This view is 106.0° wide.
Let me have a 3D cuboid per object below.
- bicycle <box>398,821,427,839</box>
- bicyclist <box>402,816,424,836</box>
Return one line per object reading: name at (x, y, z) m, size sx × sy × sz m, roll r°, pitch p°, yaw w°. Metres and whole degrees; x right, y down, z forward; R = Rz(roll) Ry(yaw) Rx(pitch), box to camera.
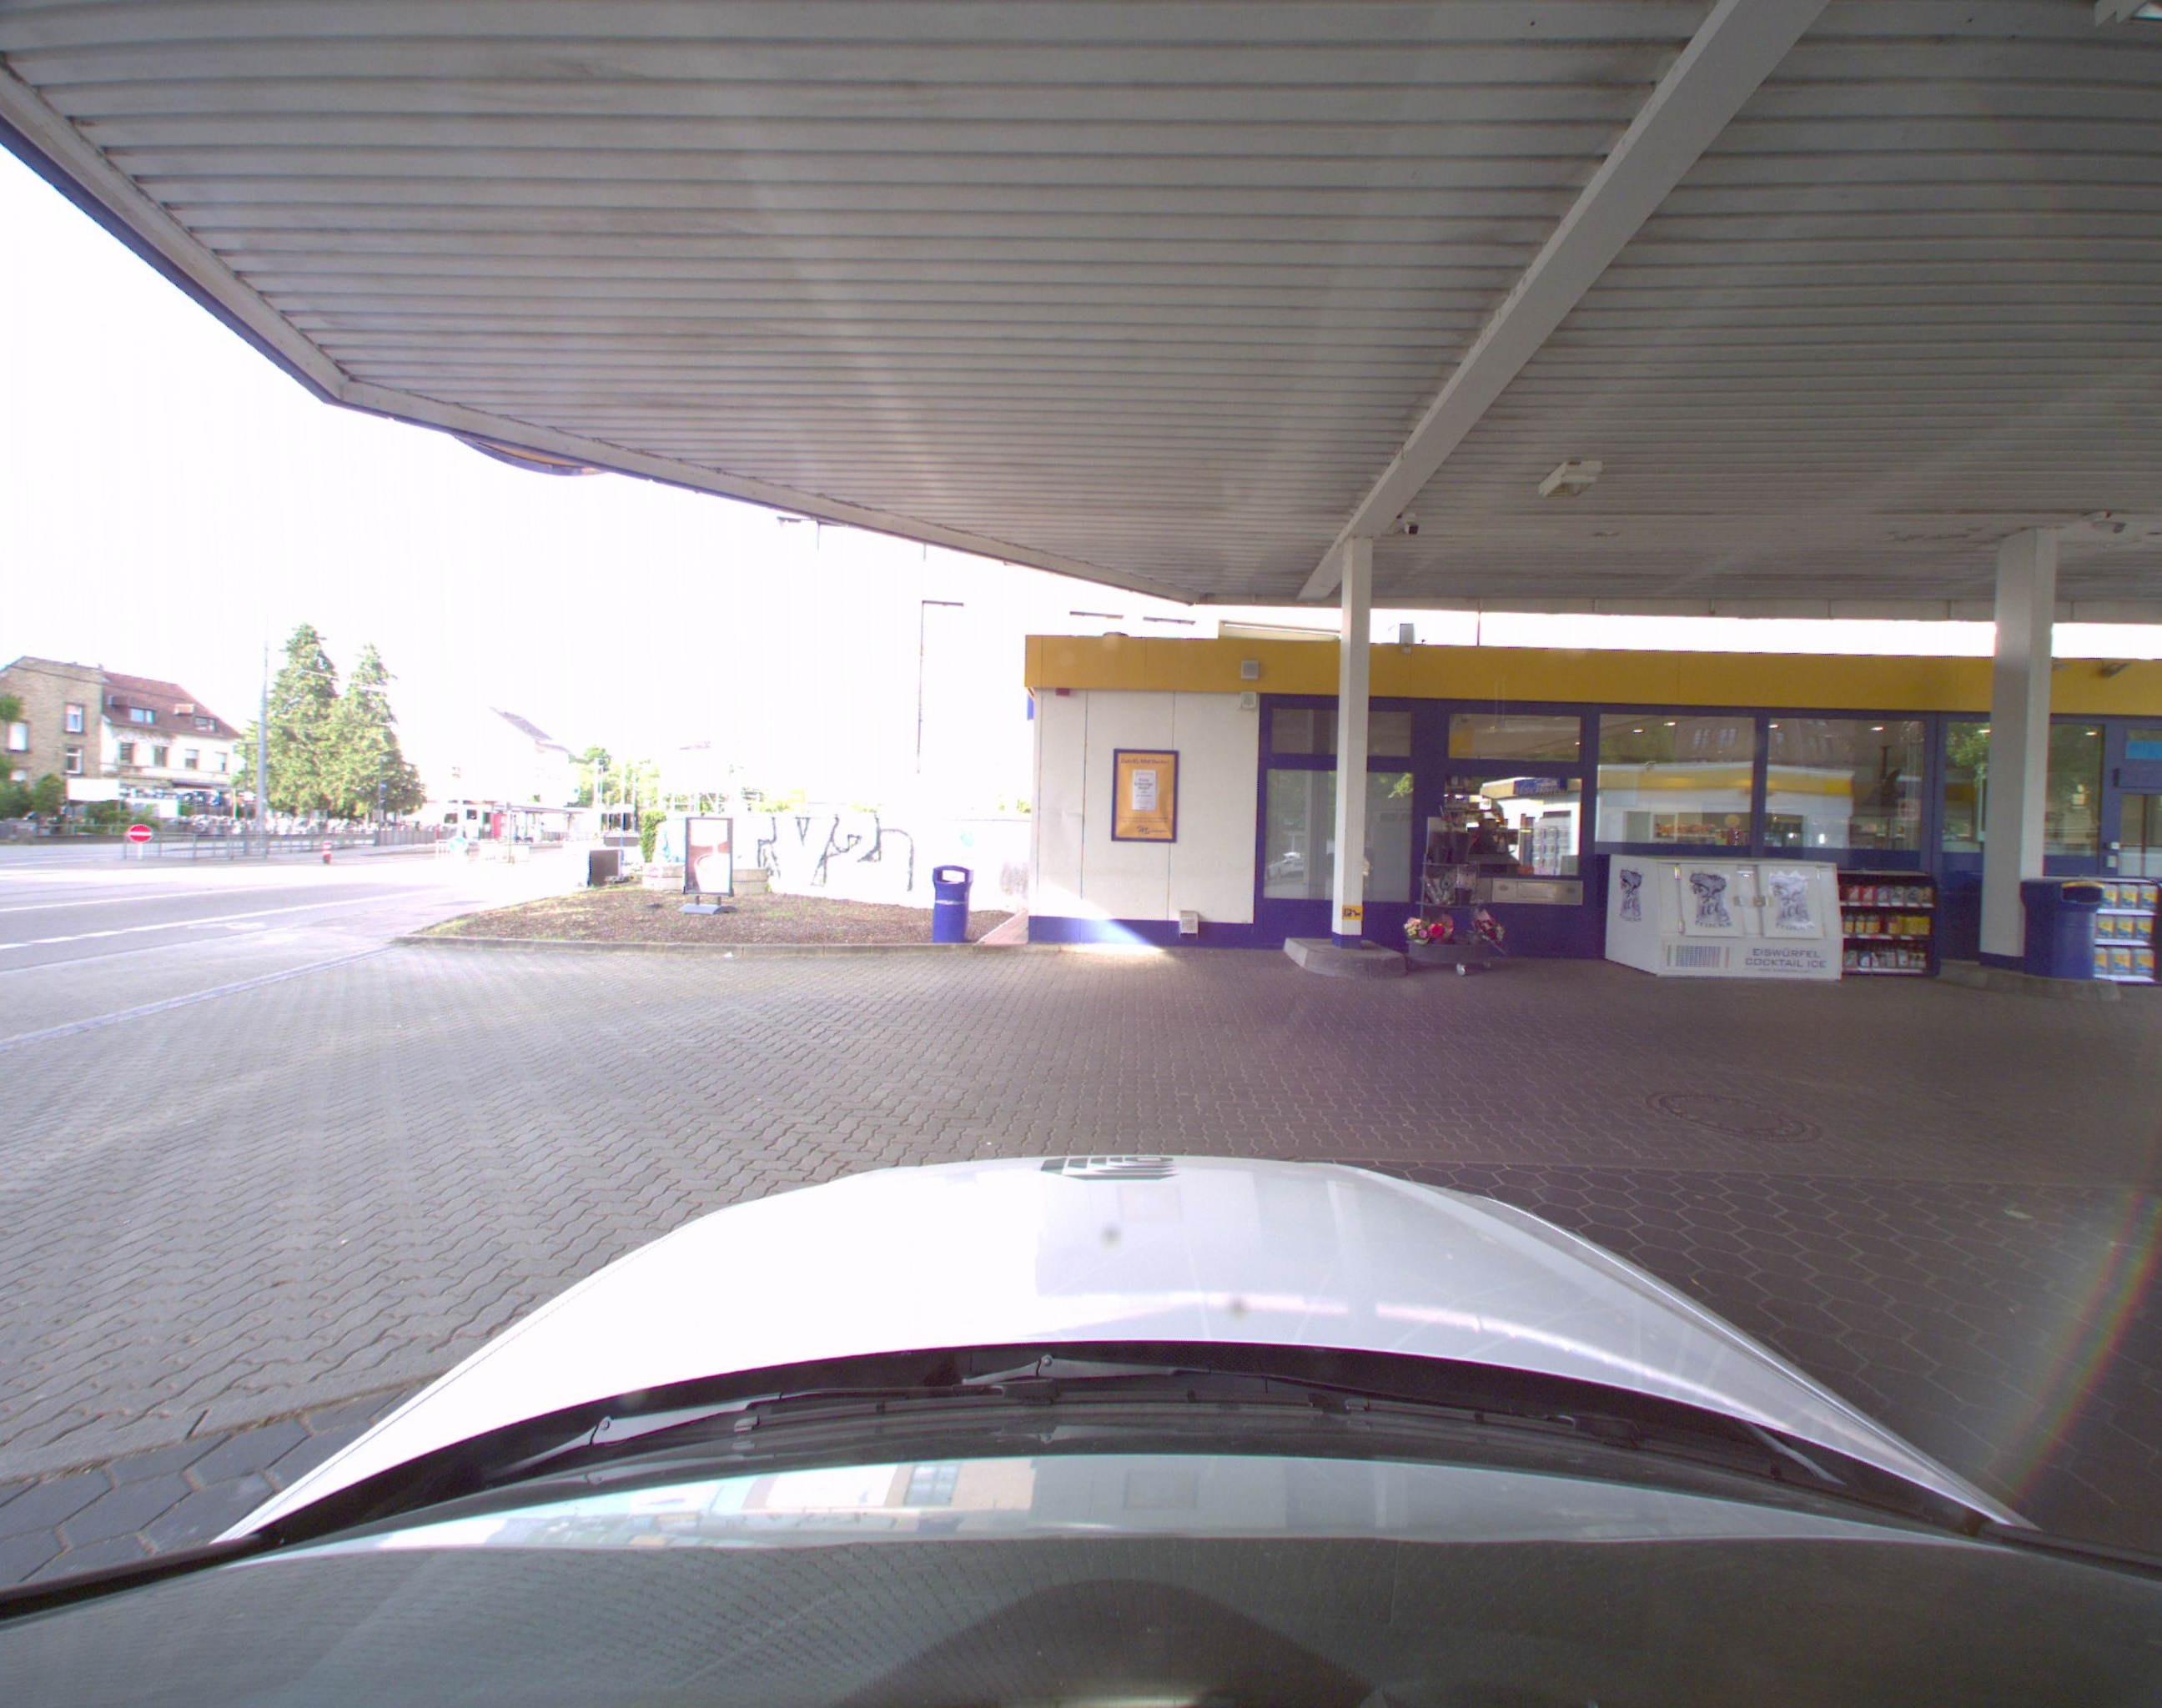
bicycle at (-48.260, -1.736, 58.810) m, size 0.750 × 1.203 × 1.813 m, roll 5°, pitch 0°, yaw -13°
bicyclist at (-48.261, -2.017, 58.844) m, size 0.750 × 1.409 × 0.917 m, roll 5°, pitch 0°, yaw -13°
